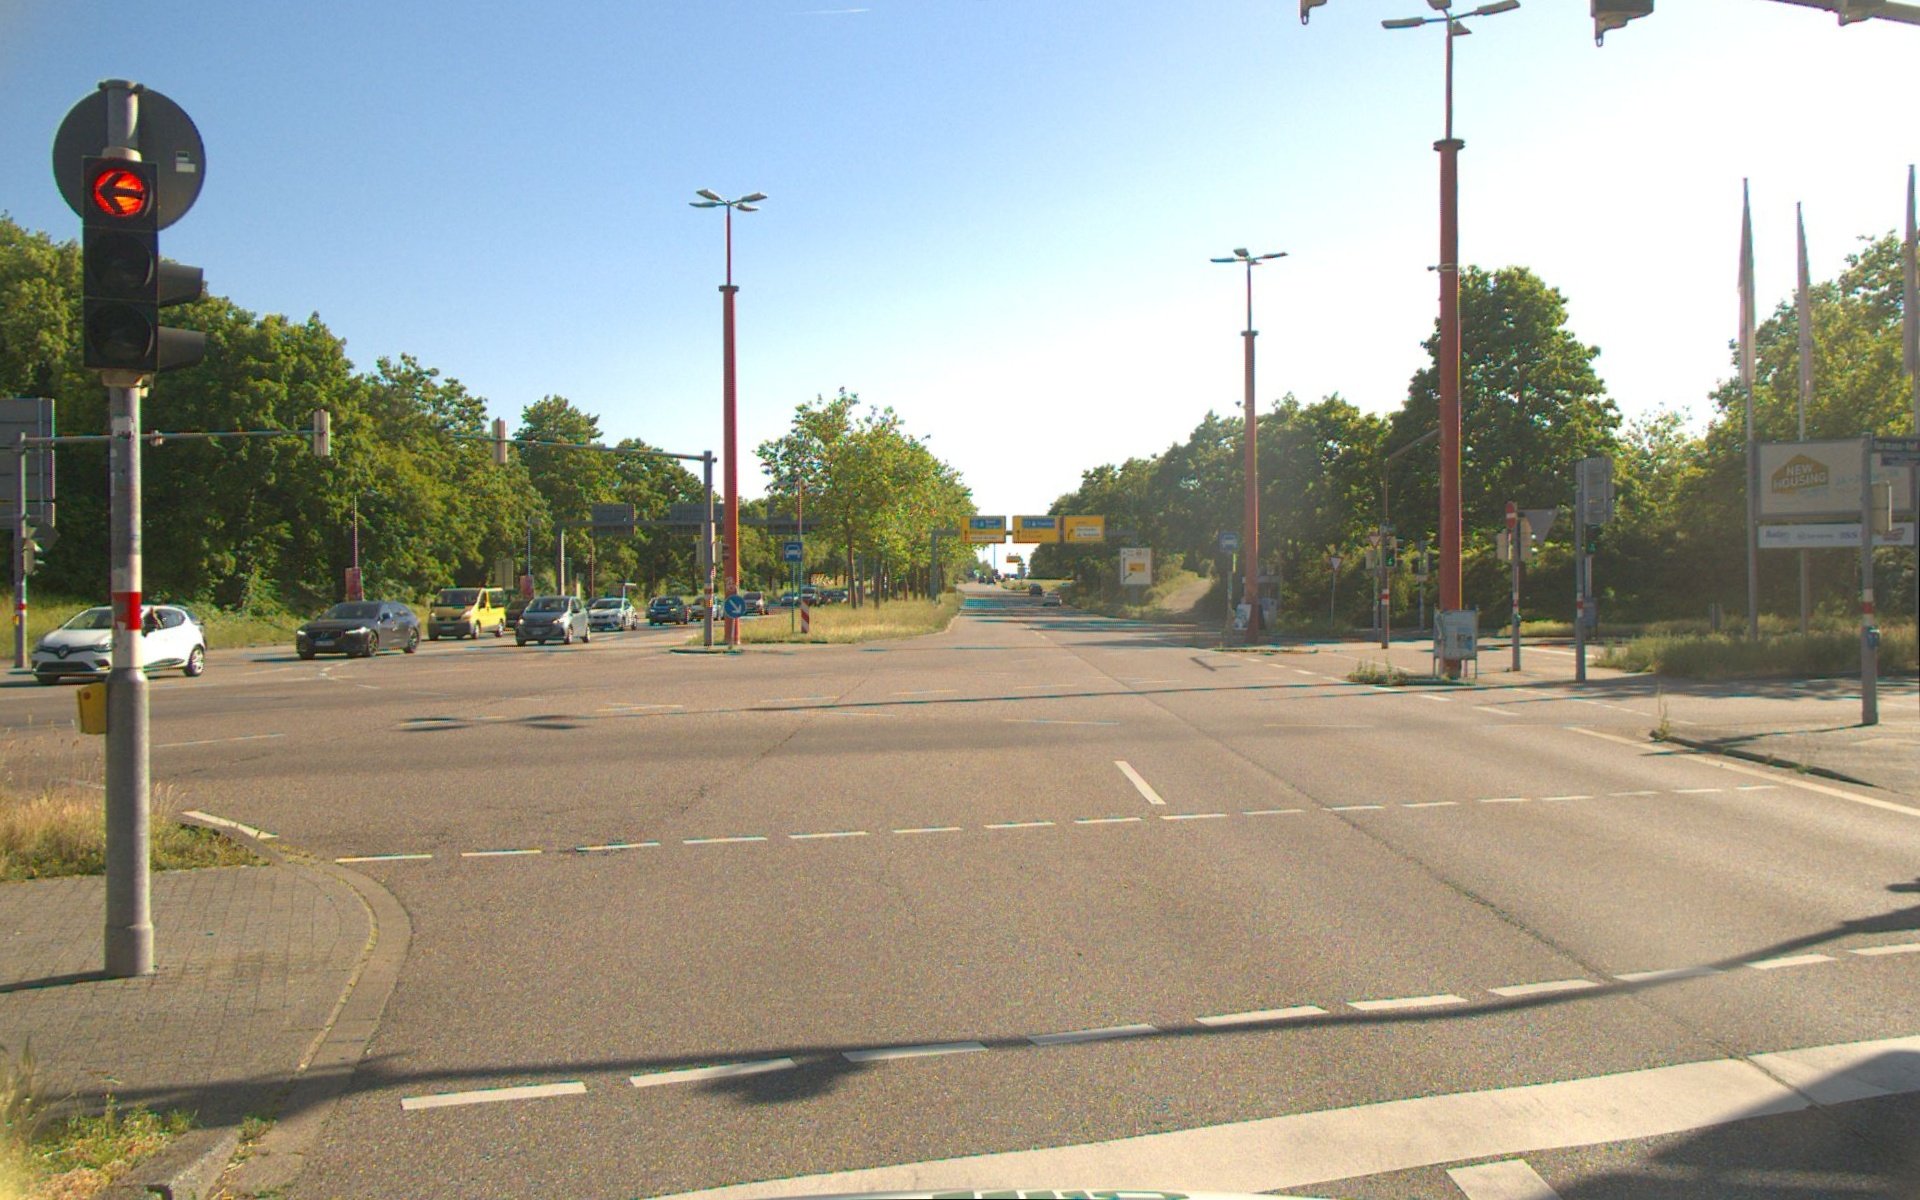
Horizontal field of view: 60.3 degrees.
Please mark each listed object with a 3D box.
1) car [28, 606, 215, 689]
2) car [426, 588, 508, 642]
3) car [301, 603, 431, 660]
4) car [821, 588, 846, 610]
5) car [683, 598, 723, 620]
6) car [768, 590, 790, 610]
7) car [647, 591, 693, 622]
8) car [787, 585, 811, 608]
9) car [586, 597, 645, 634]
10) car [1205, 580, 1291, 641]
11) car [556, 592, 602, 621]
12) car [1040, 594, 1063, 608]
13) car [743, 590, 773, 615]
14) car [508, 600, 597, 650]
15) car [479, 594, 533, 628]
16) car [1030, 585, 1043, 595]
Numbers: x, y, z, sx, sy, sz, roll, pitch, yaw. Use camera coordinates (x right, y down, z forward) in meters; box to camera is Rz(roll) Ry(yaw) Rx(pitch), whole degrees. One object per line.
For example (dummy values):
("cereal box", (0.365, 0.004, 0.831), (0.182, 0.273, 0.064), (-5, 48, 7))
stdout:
("car", (-16.227, 0.876, 32.214), (1.572, 1.485, 3.951), (0, 0, 1))
("car", (-19.276, 0.586, 64.870), (1.721, 2.022, 4.789), (1, 0, 1))
("car", (-15.492, 0.777, 43.396), (1.595, 1.392, 4.797), (0, 0, 1))
("car", (-10.324, -0.076, 135.003), (1.622, 1.778, 4.001), (1, 0, 2))
("car", (-15.667, 0.549, 101.011), (1.963, 1.330, 3.998), (0, 0, -2))
("car", (-18.764, 0.025, 171.787), (1.963, 2.049, 3.998), (1, 0, -2))
("car", (-15.491, 0.345, 88.483), (1.668, 1.586, 3.804), (1, 0, 1))
("car", (-15.018, -0.320, 154.426), (1.963, 2.049, 3.998), (1, 0, -2))
("car", (-15.423, 0.683, 74.145), (1.668, 1.624, 4.001), (1, 0, 2))
("car", (9.440, 0.324, 53.972), (1.953, 1.920, 4.000), (0, 0, 22))
("car", (-20.198, 0.334, 87.829), (1.595, 1.476, 3.434), (1, 0, 0))
("car", (9.359, 0.104, 169.834), (2.012, 1.395, 4.391), (0, 0, -1))
("car", (-14.604, 0.162, 119.520), (1.592, 1.769, 4.001), (0, 0, 1))
("car", (-12.746, 0.771, 51.931), (1.666, 1.446, 4.000), (3, 0, 1))
("car", (-23.239, 0.566, 84.742), (1.955, 1.667, 3.996), (1, 0, -5))
("car", (10.610, -1.394, 229.062), (1.702, 1.365, 3.082), (0, 0, 1))
